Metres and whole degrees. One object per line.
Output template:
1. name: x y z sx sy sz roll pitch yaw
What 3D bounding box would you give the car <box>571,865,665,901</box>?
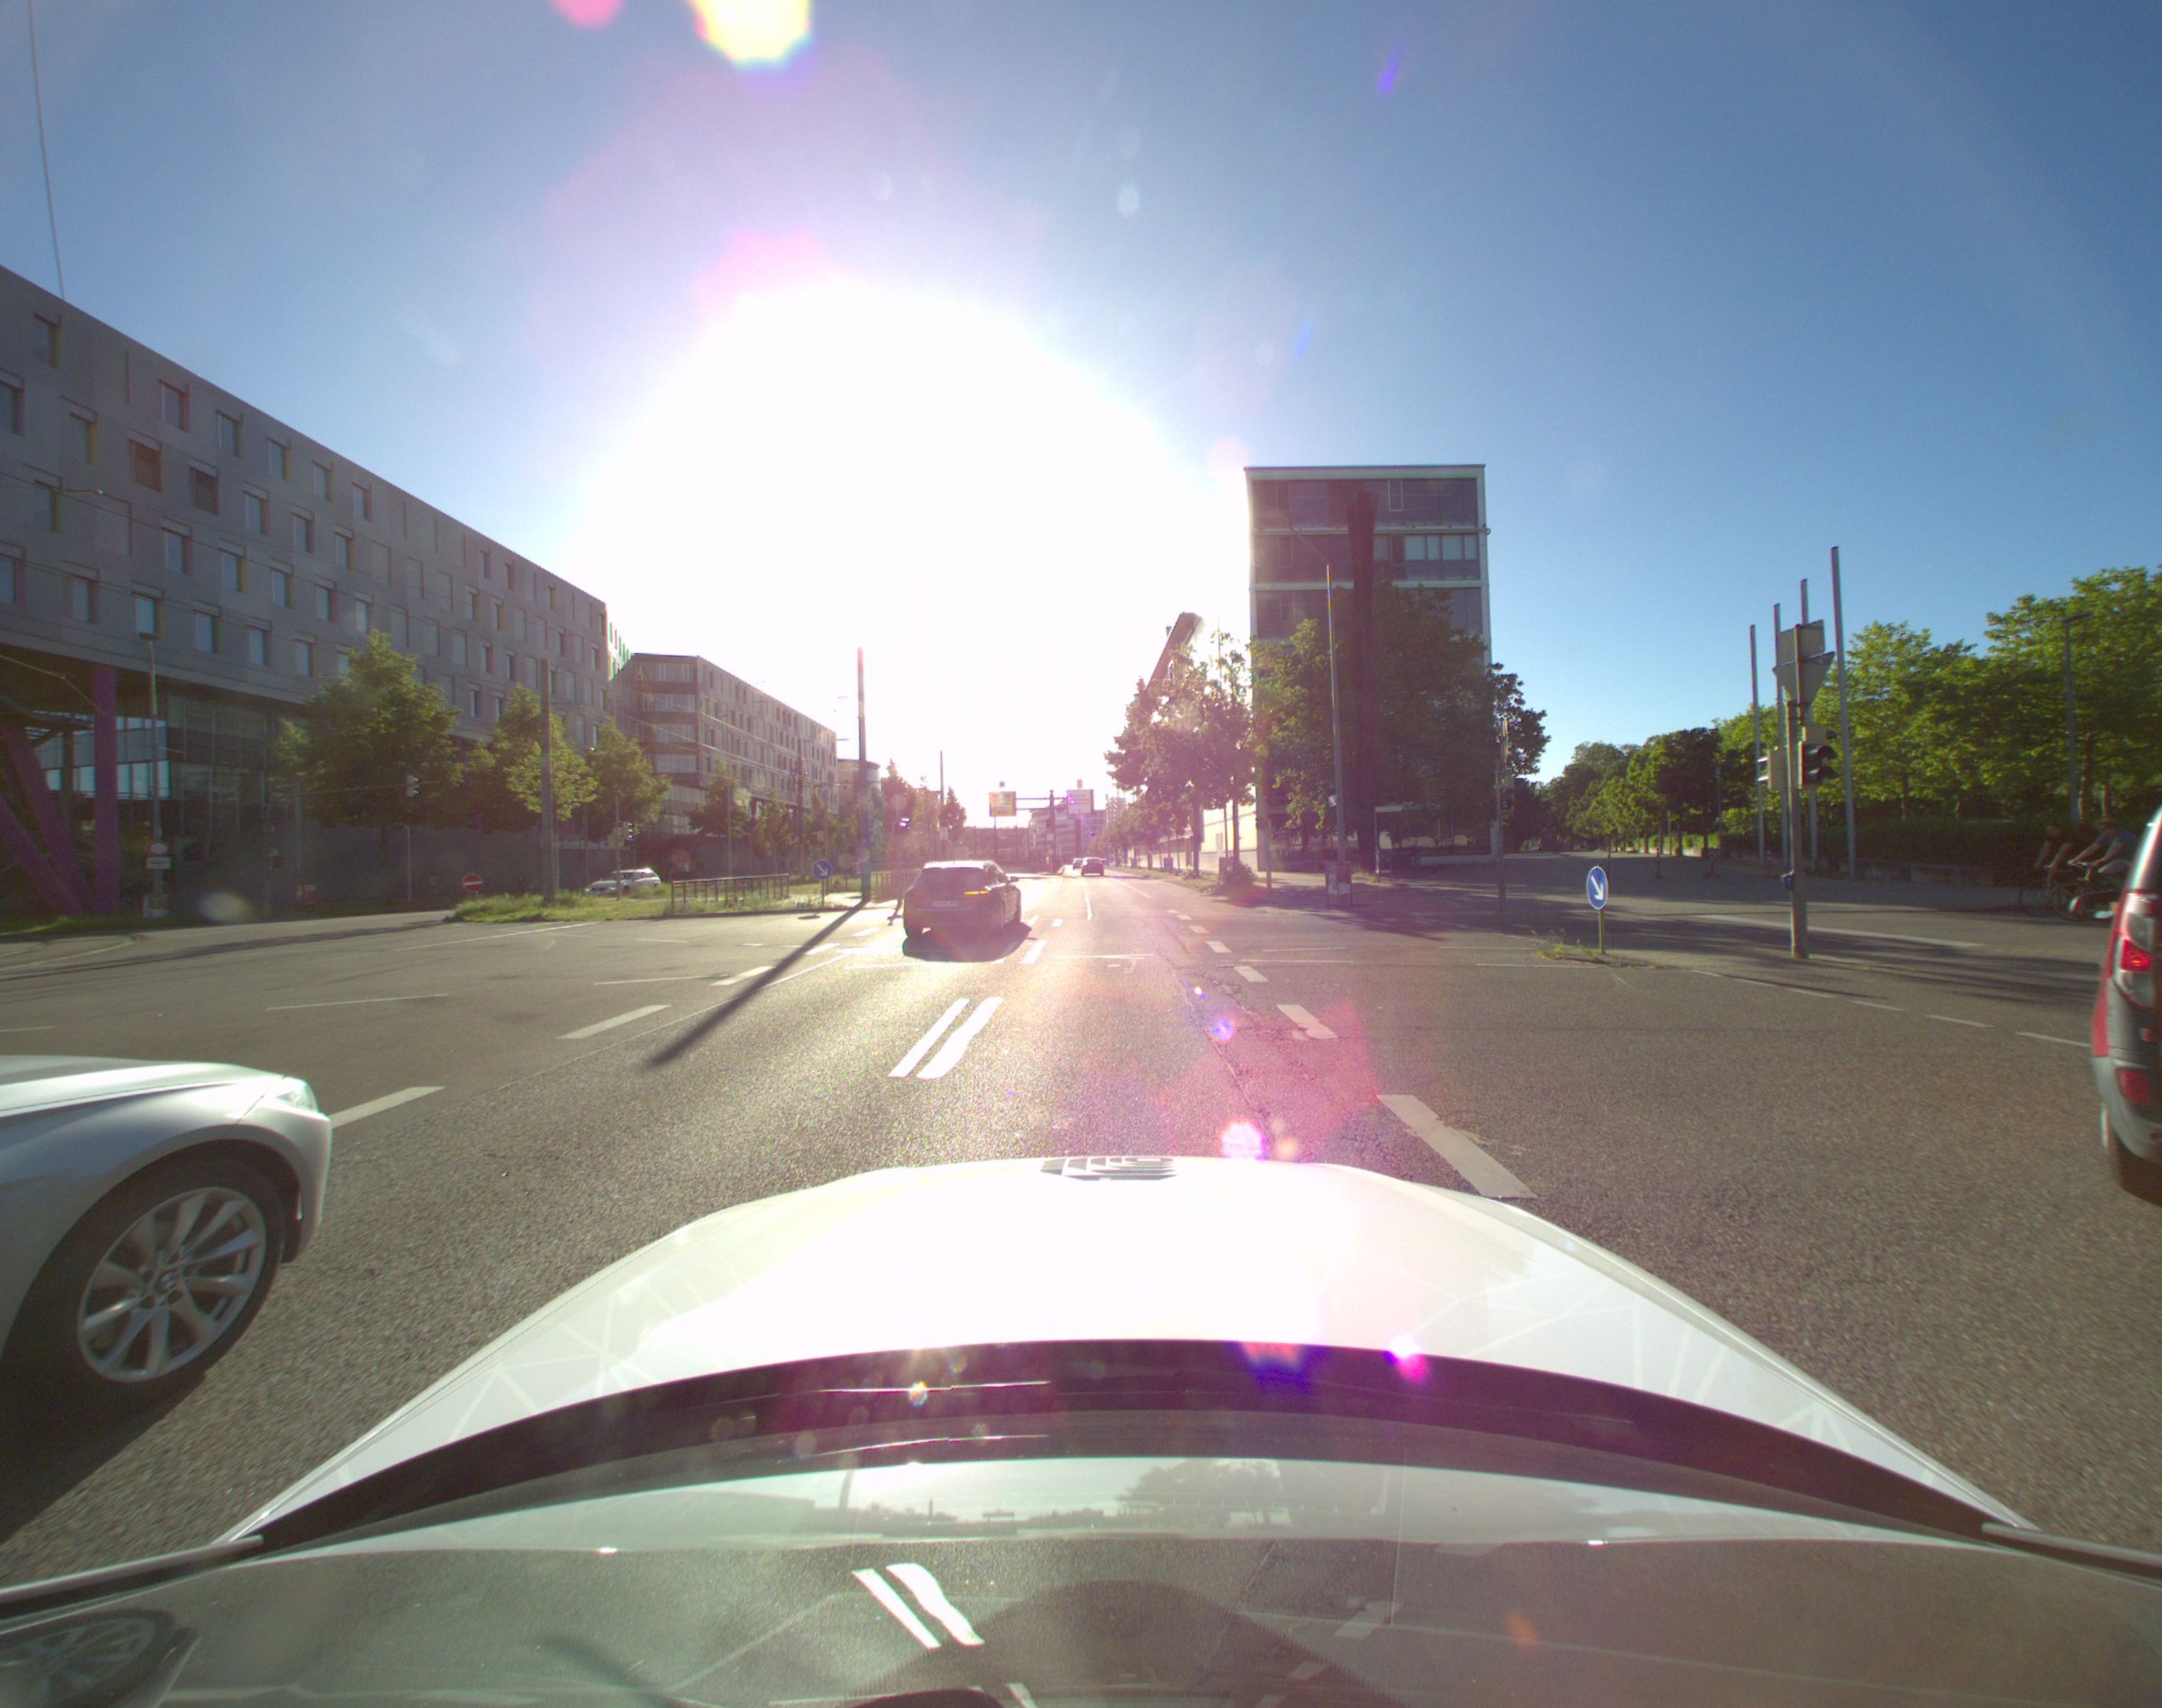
1. car: -22.721 1.363 40.217 1.988 1.562 4.868 -1 0 -2

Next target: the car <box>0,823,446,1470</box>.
1. car: -3.406 0.682 0.816 1.794 1.527 4.906 0 0 -2

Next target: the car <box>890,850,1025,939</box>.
1. car: -2.358 0.708 16.804 1.805 1.427 4.693 -2 1 3

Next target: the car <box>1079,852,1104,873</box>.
1. car: 0.820 0.648 64.172 1.847 1.546 3.998 0 0 -1

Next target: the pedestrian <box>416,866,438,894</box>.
1. pedestrian: -43.493 1.720 54.160 0.719 1.822 0.871 -2 0 -1

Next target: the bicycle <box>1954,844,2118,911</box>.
1. bicycle: 18.124 0.438 15.494 2.082 1.203 0.553 -2 0 13

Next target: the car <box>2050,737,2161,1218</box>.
1. car: 6.111 0.474 3.784 4.132 1.815 1.834 0 -1 -37

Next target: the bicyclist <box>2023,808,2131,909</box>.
1. bicyclist: 17.873 0.081 14.640 0.869 1.737 0.835 -2 0 10

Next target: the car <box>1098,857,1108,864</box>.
1. car: 4.967 1.469 181.027 1.848 1.481 4.850 -3 0 -2

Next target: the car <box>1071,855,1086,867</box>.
1. car: -0.301 0.841 105.832 1.987 1.465 3.999 -1 0 0

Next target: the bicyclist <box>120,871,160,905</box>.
1. bicyclist: -41.055 1.466 35.546 0.568 1.435 0.958 -1 0 0

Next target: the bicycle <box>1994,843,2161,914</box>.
1. bicycle: 17.914 0.441 14.649 2.084 1.203 0.553 -2 0 10

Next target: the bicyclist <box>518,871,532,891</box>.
1. bicyclist: -44.197 2.134 64.691 0.557 1.496 0.763 -2 0 -1

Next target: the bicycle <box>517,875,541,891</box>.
1. bicycle: -43.856 2.298 64.696 0.518 1.172 1.974 -2 0 -1

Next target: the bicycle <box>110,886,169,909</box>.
1. bicycle: -41.048 1.891 35.519 0.574 0.863 1.692 -1 0 0

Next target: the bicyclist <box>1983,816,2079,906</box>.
1. bicyclist: 18.095 0.125 15.538 0.869 1.653 0.796 -2 0 10
